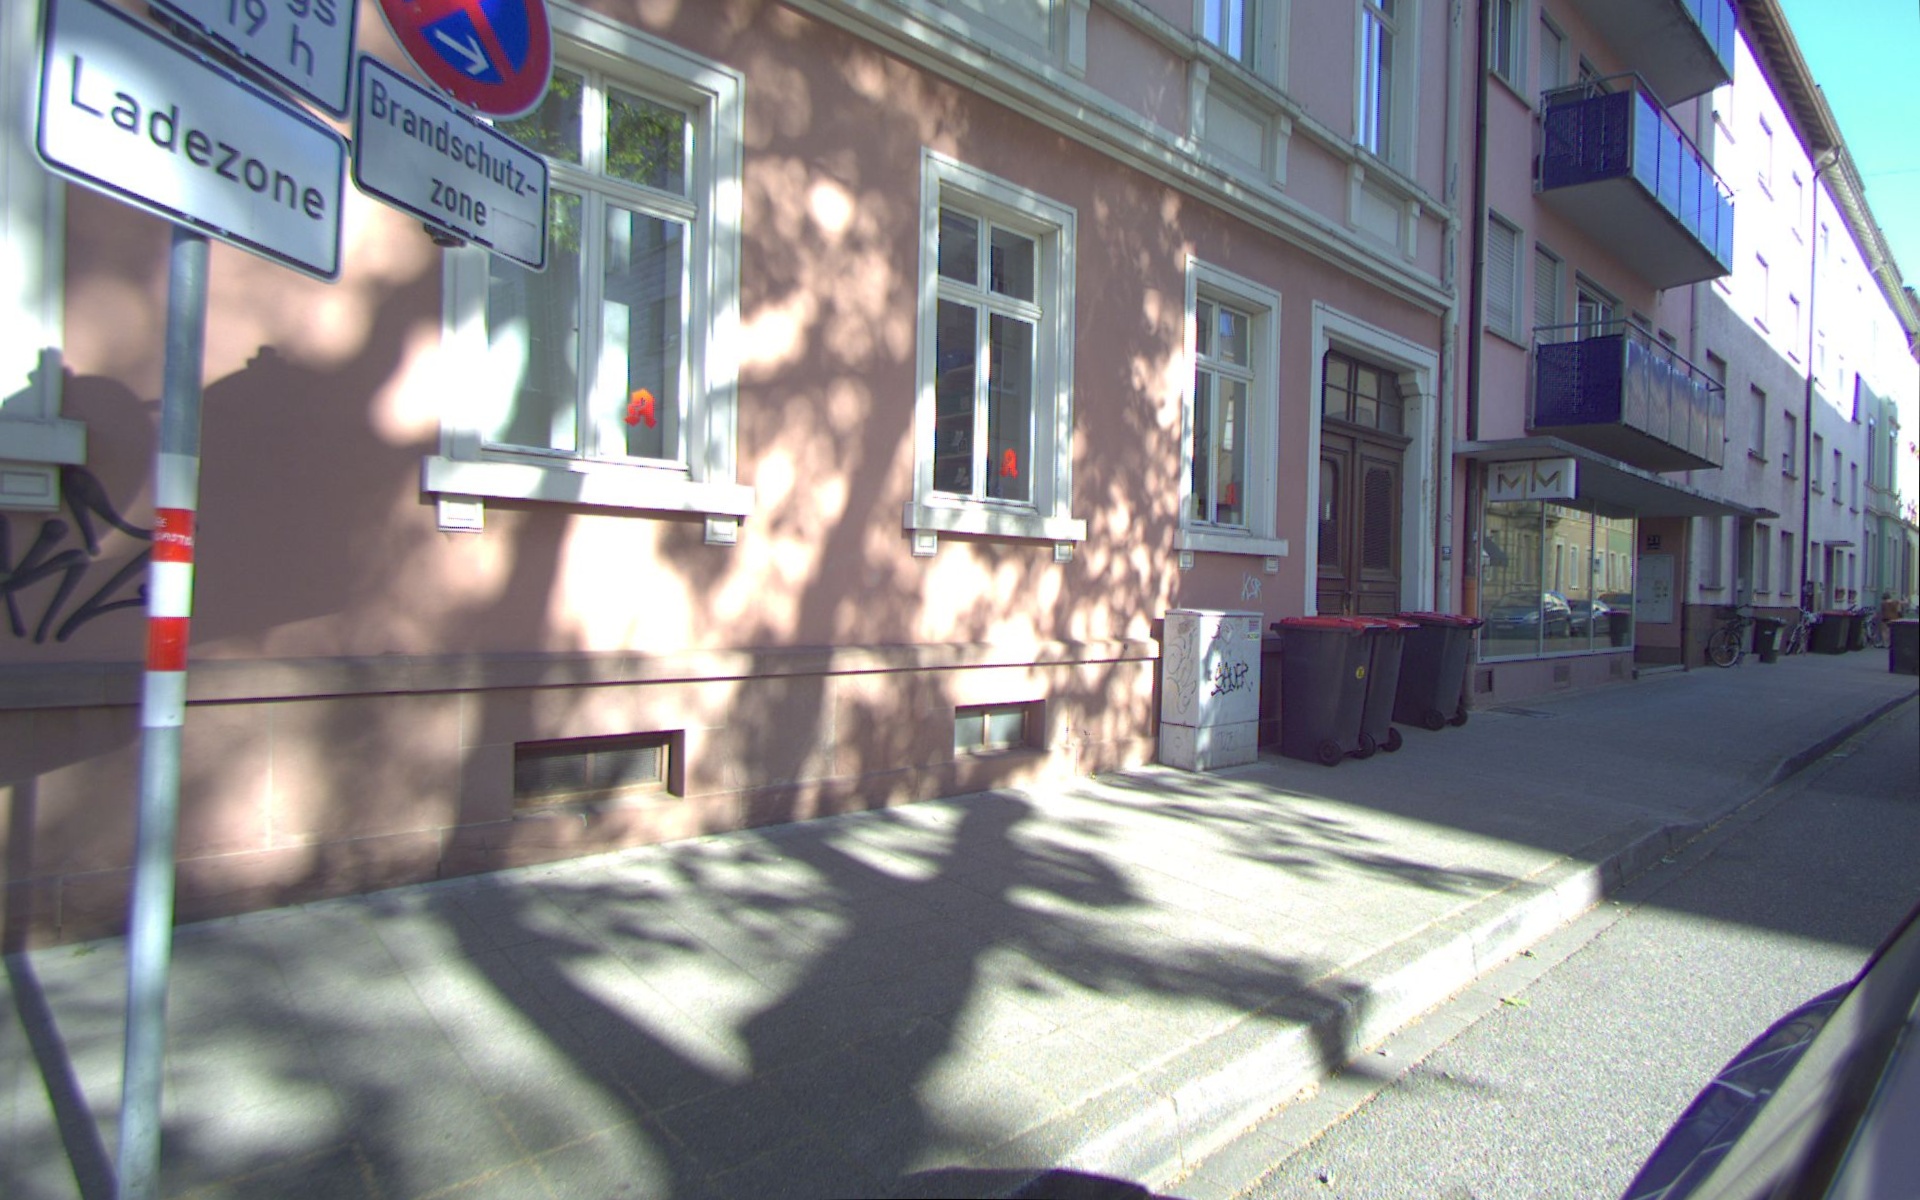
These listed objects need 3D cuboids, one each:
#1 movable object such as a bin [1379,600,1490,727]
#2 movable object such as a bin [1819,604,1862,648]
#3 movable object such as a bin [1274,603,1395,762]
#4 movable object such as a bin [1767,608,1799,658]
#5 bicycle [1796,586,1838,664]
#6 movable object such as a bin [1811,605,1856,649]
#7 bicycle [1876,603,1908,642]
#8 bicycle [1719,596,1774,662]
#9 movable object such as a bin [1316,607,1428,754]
[{"bbox_3d":[4.490,0.576,9.584,0.608,1.097,0.717,1,3,-43],"label":"movable object such as a bin"},{"bbox_3d":[22.138,0.645,25.449,0.537,1.014,0.716,1,4,-43],"label":"movable object such as a bin"},{"bbox_3d":[2.827,0.590,7.642,0.643,1.097,0.570,1,3,-43],"label":"movable object such as a bin"},{"bbox_3d":[16.531,0.654,20.331,0.297,0.951,0.416,1,3,-43],"label":"movable object such as a bin"},{"bbox_3d":[20.190,0.572,23.828,2.070,1.757,0.402,0,1,-41],"label":"bicycle"},{"bbox_3d":[21.507,0.652,24.927,0.537,1.014,0.716,1,4,-43],"label":"movable object such as a bin"},{"bbox_3d":[27.772,0.660,30.153,1.899,1.110,0.489,0,1,-41],"label":"bicycle"},{"bbox_3d":[14.561,0.512,18.720,1.989,1.165,0.402,0,1,-41],"label":"bicycle"},{"bbox_3d":[3.280,0.610,8.061,0.601,1.071,0.570,1,3,-43],"label":"movable object such as a bin"}]
